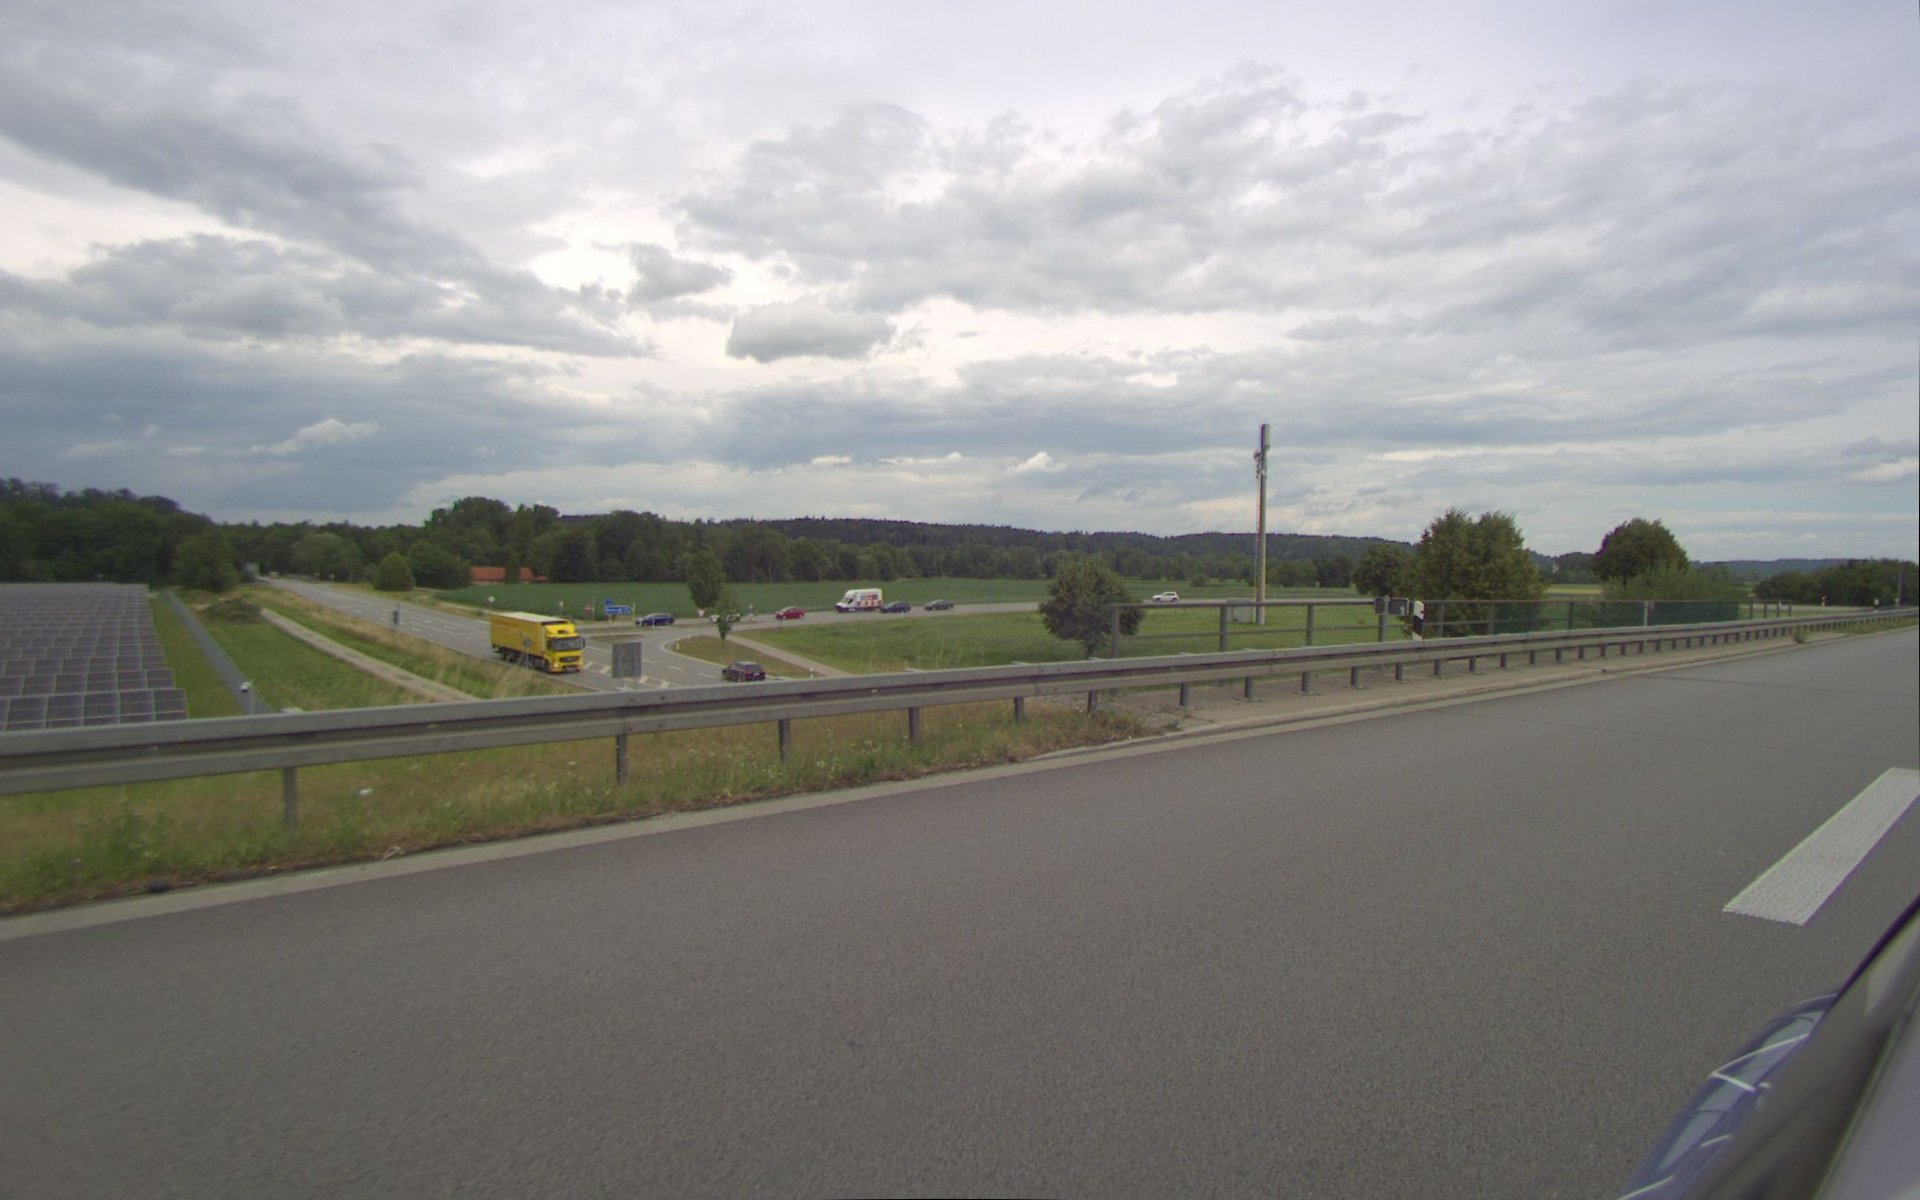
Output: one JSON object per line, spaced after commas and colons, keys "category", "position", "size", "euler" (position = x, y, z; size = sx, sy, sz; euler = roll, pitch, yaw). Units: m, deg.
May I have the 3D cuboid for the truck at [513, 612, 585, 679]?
{"category": "truck", "position": [-32.512, 3.463, 79.905], "size": [2.968, 4.847, 7.126], "euler": [0, 1, -43]}

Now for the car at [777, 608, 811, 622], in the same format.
{"category": "car", "position": [-21.889, 1.966, 133.597], "size": [4.152, 1.861, 1.832], "euler": [0, 0, -19]}

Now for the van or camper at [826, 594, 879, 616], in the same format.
{"category": "van or camper", "position": [-15.300, 0.718, 144.092], "size": [6.982, 2.946, 2.805], "euler": [-1, -3, -27]}

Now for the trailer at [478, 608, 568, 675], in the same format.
{"category": "trailer", "position": [-36.539, 3.283, 84.306], "size": [2.968, 4.847, 12.284], "euler": [0, 1, -43]}
